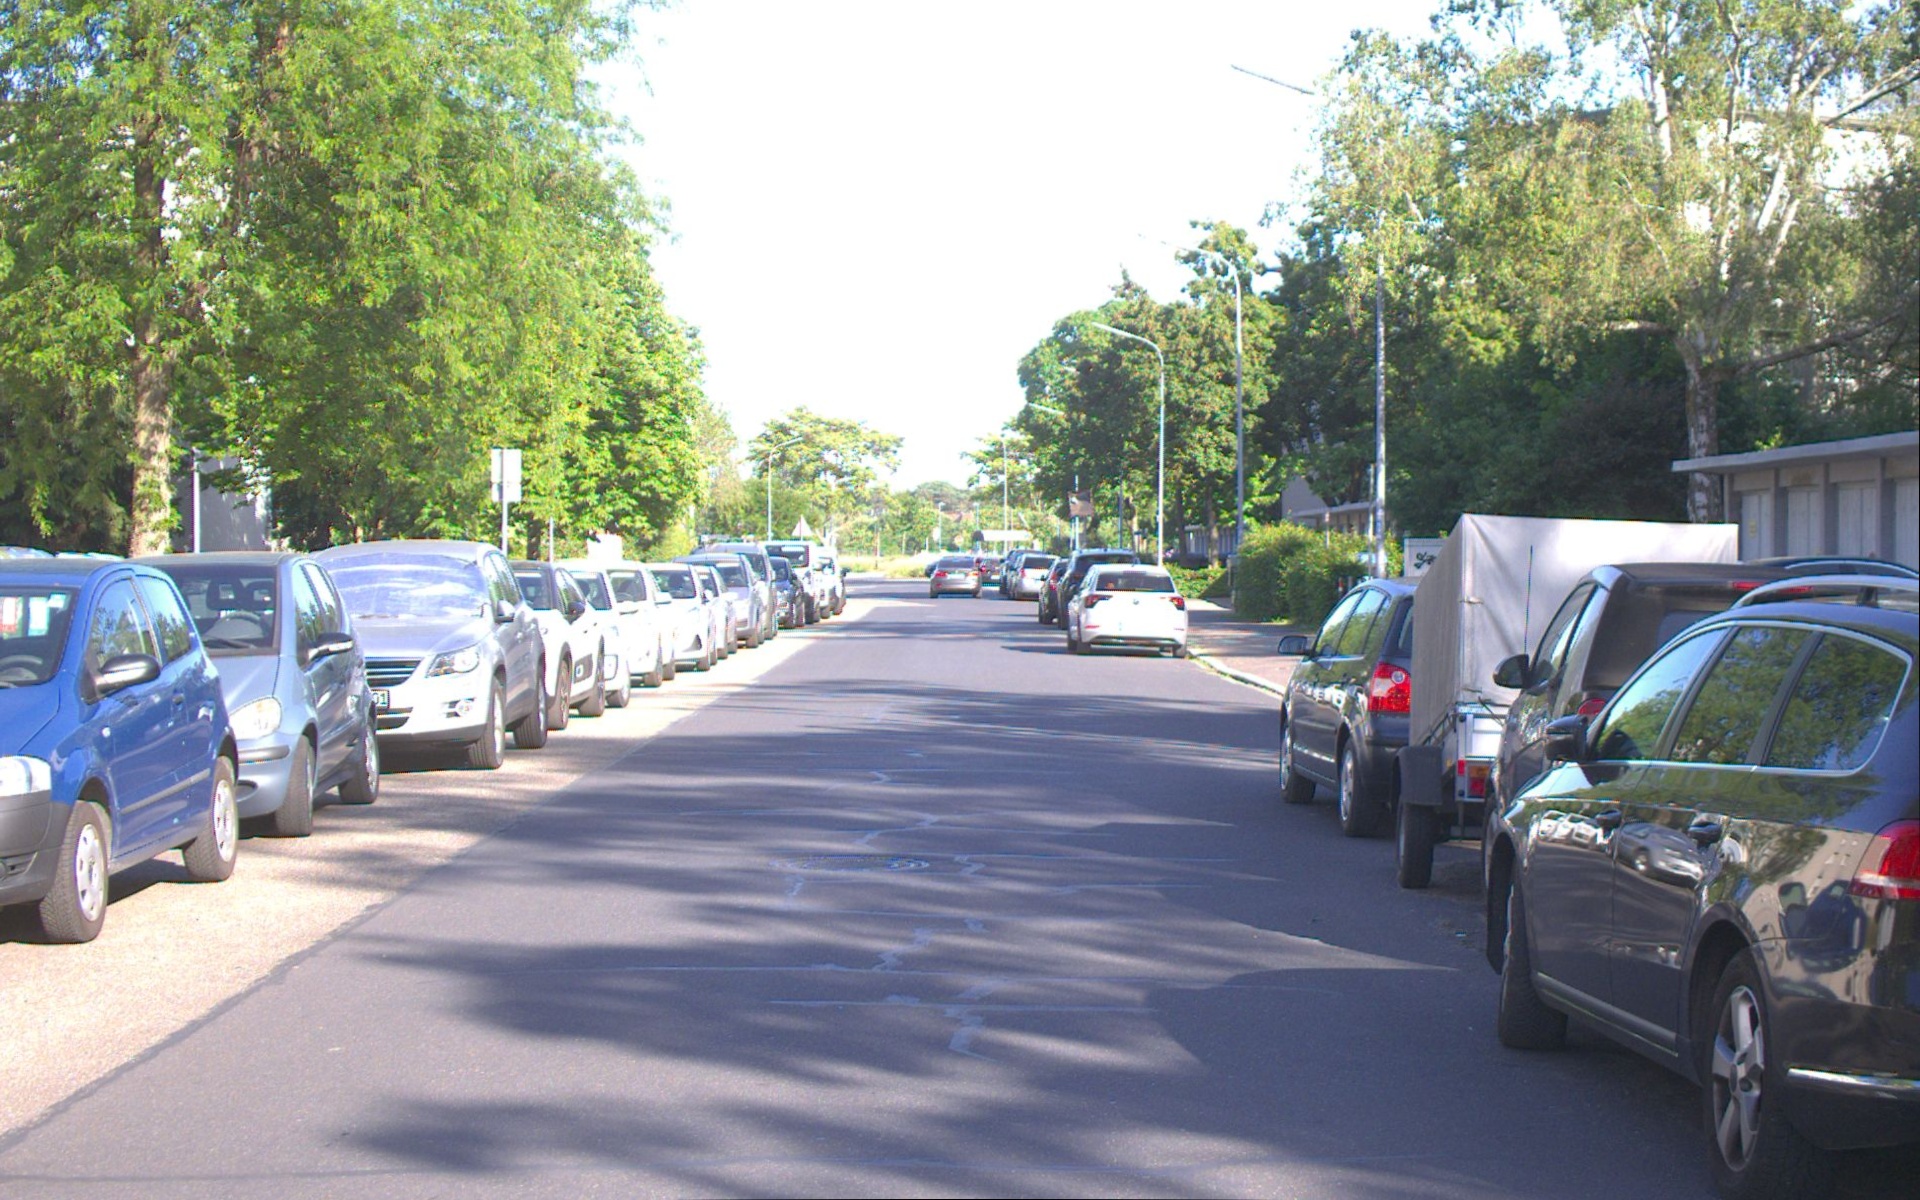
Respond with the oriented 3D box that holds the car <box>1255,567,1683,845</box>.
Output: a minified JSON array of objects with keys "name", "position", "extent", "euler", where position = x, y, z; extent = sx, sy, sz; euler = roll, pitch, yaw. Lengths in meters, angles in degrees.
[{"name":"car","position":[2.872,0.547,20.206],"extent":[1.731,1.399,3.895],"euler":[2,1,-3]}]

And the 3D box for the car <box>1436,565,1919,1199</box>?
[{"name":"car","position":[2.561,0.677,9.250],"extent":[1.731,1.485,4.502],"euler":[-1,1,-3]}]

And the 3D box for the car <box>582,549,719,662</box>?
[{"name":"car","position":[-4.291,0.046,48.071],"extent":[1.686,1.500,3.818],"euler":[-1,1,-2]}]

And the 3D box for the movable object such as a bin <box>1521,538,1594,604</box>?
[{"name":"movable object such as a bin","position":[12.446,-0.616,71.634],"extent":[1.254,1.348,1.279],"euler":[1,1,-1]}]

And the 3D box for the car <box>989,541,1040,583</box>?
[{"name":"car","position":[2.181,-1.540,138.177],"extent":[1.795,1.638,3.952],"euler":[1,1,-2]}]

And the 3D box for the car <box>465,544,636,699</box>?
[{"name":"car","position":[-4.248,0.186,35.791],"extent":[1.662,1.508,3.539],"euler":[-1,1,-6]}]

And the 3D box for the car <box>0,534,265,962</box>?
[{"name":"car","position":[-4.333,0.548,14.889],"extent":[1.754,1.600,3.969],"euler":[-2,1,1]}]

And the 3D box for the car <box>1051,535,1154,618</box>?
[{"name":"car","position":[2.917,-0.504,71.122],"extent":[1.908,1.634,4.628],"euler":[1,1,0]}]

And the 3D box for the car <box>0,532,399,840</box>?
[{"name":"car","position":[-4.336,0.426,19.915],"extent":[1.635,1.600,3.535],"euler":[-1,1,-1]}]

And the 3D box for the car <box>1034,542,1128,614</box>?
[{"name":"car","position":[2.677,-0.509,76.973],"extent":[1.908,1.525,4.328],"euler":[1,1,0]}]

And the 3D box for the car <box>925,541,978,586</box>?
[{"name":"car","position":[-0.315,-1.318,121.828],"extent":[1.679,1.508,4.105],"euler":[2,1,-3]}]

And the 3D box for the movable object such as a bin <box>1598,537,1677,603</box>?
[{"name":"movable object such as a bin","position":[14.152,-0.628,71.861],"extent":[1.254,1.348,1.279],"euler":[0,1,-8]}]

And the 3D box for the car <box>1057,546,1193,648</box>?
[{"name":"car","position":[2.595,-0.078,54.846],"extent":[1.753,1.508,4.105],"euler":[2,1,-3]}]

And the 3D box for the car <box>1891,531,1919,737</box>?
[{"name":"car","position":[9.033,0.225,25.065],"extent":[3.942,1.508,1.829],"euler":[-1,1,-3]}]

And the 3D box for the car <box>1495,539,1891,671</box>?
[{"name":"car","position":[8.880,0.040,41.894],"extent":[4.415,1.508,1.829],"euler":[-1,1,1]}]

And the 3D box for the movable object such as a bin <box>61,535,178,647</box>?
[{"name":"movable object such as a bin","position":[-11.117,-0.131,45.503],"extent":[1.134,1.416,1.361],"euler":[3,1,1]}]

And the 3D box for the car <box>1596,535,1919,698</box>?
[{"name":"car","position":[8.652,0.131,33.688],"extent":[4.513,1.508,1.829],"euler":[-1,1,1]}]

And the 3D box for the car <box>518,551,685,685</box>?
[{"name":"car","position":[-4.375,0.184,42.376],"extent":[1.686,1.529,3.891],"euler":[-1,1,-1]}]

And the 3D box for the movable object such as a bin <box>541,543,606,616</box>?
[{"name":"movable object such as a bin","position":[-7.912,-0.426,70.426],"extent":[1.101,1.416,1.361],"euler":[3,1,0]}]

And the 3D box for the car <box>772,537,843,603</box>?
[{"name":"car","position":[-4.138,-0.836,94.033],"extent":[1.746,1.726,4.005],"euler":[-1,1,0]}]

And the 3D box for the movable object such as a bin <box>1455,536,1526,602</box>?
[{"name":"movable object such as a bin","position":[11.054,-0.648,71.686],"extent":[1.254,1.348,1.279],"euler":[1,1,-1]}]

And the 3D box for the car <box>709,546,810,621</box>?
[{"name":"car","position":[-4.292,-0.369,74.039],"extent":[1.746,1.528,4.139],"euler":[-1,1,2]}]

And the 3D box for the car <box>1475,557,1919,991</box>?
[{"name":"car","position":[2.897,0.612,13.686],"extent":[1.415,1.518,2.557],"euler":[2,1,4]}]

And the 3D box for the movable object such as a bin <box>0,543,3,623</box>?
[{"name":"movable object such as a bin","position":[-12.508,-0.018,41.934],"extent":[1.177,1.416,1.462],"euler":[3,1,2]}]

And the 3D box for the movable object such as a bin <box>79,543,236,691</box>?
[{"name":"movable object such as a bin","position":[-7.923,0.152,34.010],"extent":[1.136,1.378,1.442],"euler":[3,1,1]}]

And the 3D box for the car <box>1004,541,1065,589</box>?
[{"name":"car","position":[2.512,-1.199,117.067],"extent":[1.795,1.556,3.952],"euler":[1,1,-2]}]

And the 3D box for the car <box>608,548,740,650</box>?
[{"name":"car","position":[-4.420,-0.051,53.621],"extent":[1.686,1.460,4.526],"euler":[-2,1,-1]}]

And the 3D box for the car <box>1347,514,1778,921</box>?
[{"name":"car","position":[2.738,0.485,16.091],"extent":[1.488,1.712,2.583],"euler":[2,1,-1]}]

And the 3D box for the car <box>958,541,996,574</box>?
[{"name":"car","position":[0.873,-2.227,179.848],"extent":[1.795,1.638,3.952],"euler":[1,1,-2]}]

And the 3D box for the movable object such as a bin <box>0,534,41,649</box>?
[{"name":"movable object such as a bin","position":[-12.466,-0.134,43.500],"extent":[1.177,1.416,1.462],"euler":[3,1,2]}]

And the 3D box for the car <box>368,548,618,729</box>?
[{"name":"car","position":[-4.189,0.302,31.359],"extent":[1.662,1.508,3.945],"euler":[-1,1,1]}]

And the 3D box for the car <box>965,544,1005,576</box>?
[{"name":"car","position":[1.234,-2.032,172.527],"extent":[1.795,1.543,3.952],"euler":[1,1,-2]}]

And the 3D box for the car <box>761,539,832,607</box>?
[{"name":"car","position":[-4.206,-0.714,88.491],"extent":[1.746,1.664,4.379],"euler":[-1,1,-3]}]

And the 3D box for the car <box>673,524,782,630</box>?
[{"name":"car","position":[-4.350,-0.457,64.863],"extent":[1.854,1.886,4.418],"euler":[-1,1,-2]}]

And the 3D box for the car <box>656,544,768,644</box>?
[{"name":"car","position":[-4.227,-0.135,59.044],"extent":[1.709,1.595,3.986],"euler":[-2,1,-2]}]

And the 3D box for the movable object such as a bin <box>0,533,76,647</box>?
[{"name":"movable object such as a bin","position":[-12.405,-0.148,45.020],"extent":[1.177,1.416,1.462],"euler":[3,1,2]}]

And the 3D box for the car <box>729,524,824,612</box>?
[{"name":"car","position":[-4.247,-0.776,80.320],"extent":[1.915,1.956,5.088],"euler":[-1,1,0]}]

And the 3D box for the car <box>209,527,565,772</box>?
[{"name":"car","position":[-4.139,0.297,25.501],"extent":[1.903,1.634,4.349],"euler":[-1,1,0]}]

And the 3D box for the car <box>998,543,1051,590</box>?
[{"name":"car","position":[2.490,-1.311,133.102],"extent":[1.795,1.780,3.952],"euler":[1,1,-2]}]
